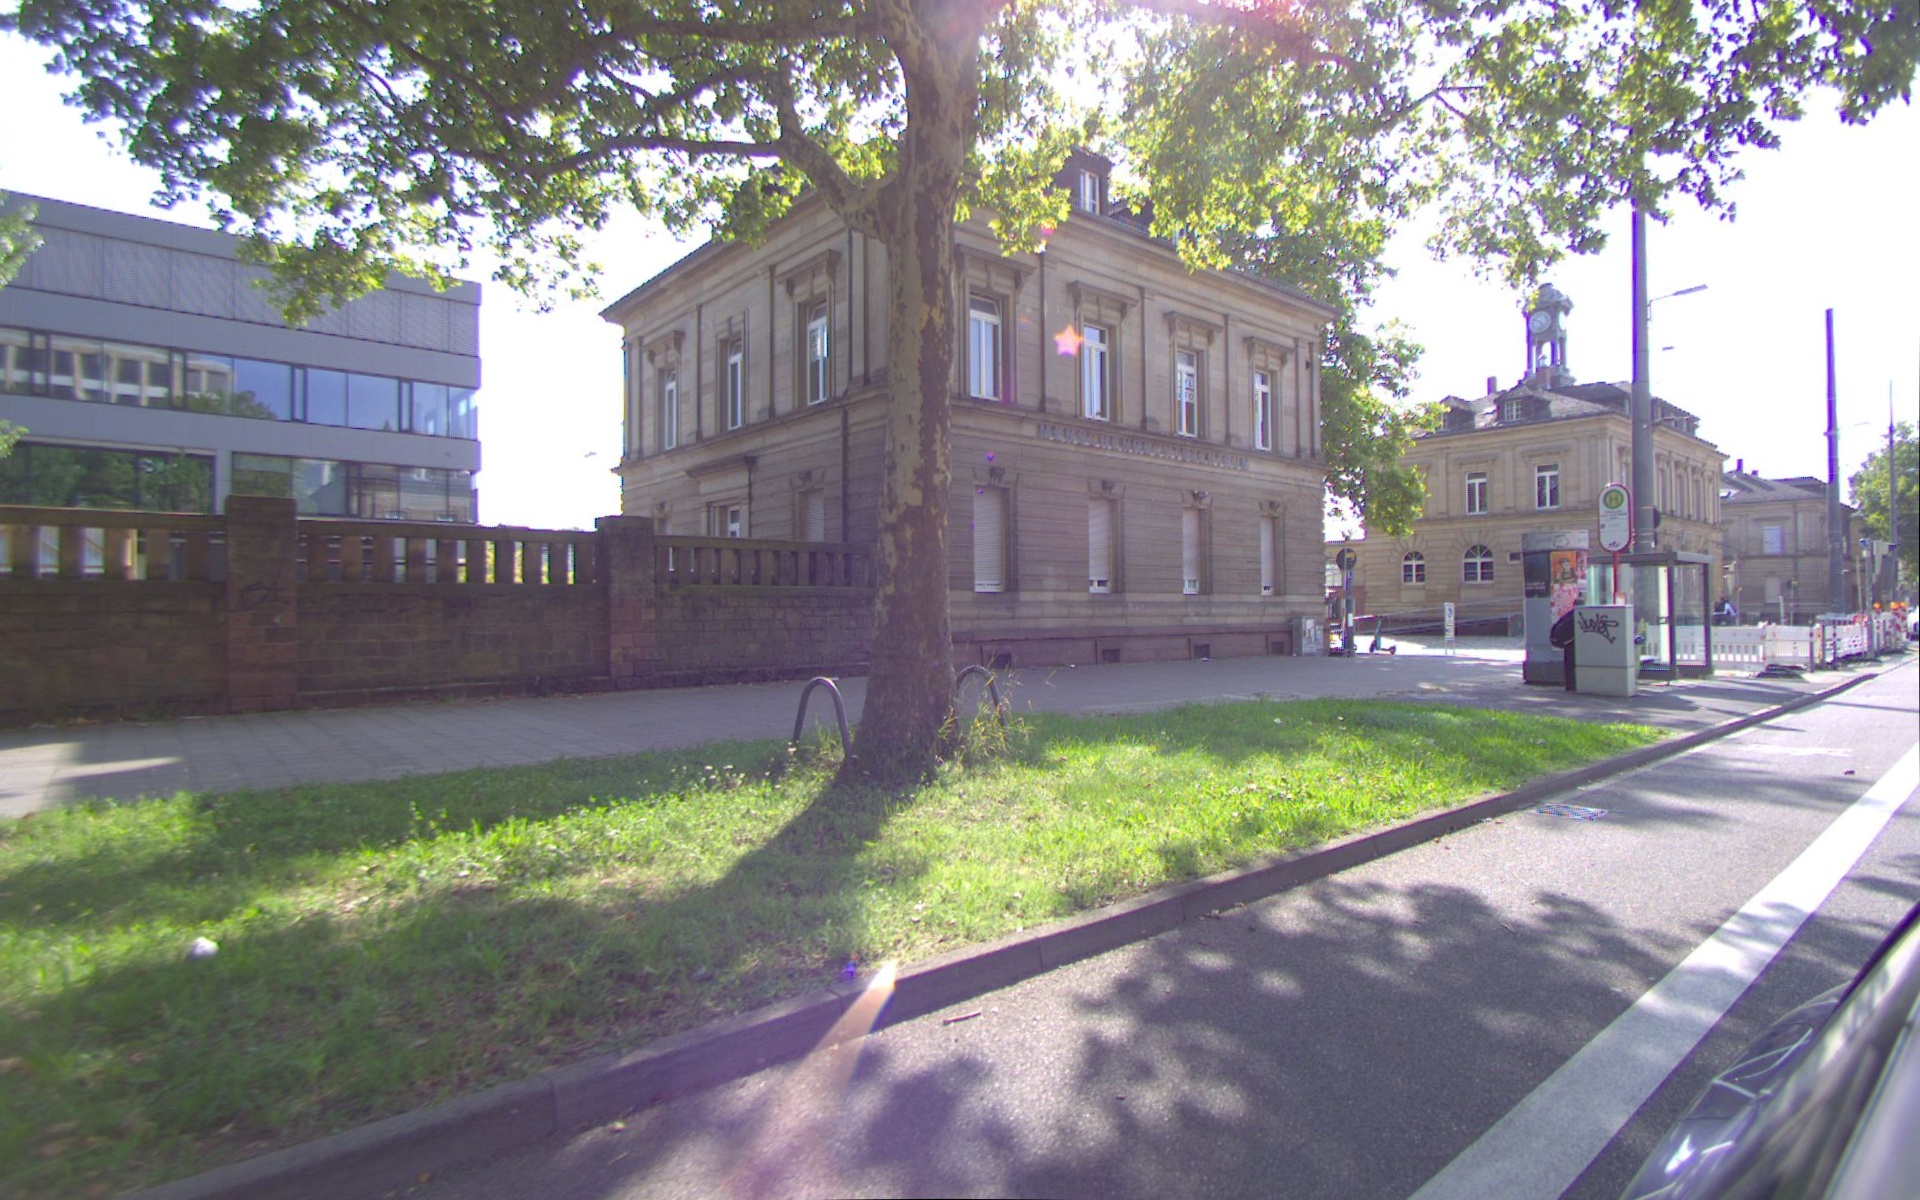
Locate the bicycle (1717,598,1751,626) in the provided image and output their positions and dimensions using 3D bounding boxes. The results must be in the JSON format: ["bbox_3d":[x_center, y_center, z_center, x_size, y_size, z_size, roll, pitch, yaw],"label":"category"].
[{"bbox_3d":[29.509,0.466,38.569,1.871,1.055,0.718,1,-1,-43],"label":"bicycle"}]

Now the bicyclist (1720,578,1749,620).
[{"bbox_3d":[29.513,-0.032,38.581,0.939,1.563,0.718,1,-2,-43],"label":"bicyclist"}]

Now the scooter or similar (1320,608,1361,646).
[{"bbox_3d":[12.646,0.897,33.669,1.242,1.225,0.419,1,-2,25],"label":"scooter or similar"}]

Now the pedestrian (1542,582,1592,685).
[{"bbox_3d":[10.354,0.557,17.293,0.683,1.718,0.642,0,-1,29],"label":"pedestrian"}]

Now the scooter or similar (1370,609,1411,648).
[{"bbox_3d":[13.964,0.931,32.830,1.228,1.225,0.423,2,-2,-18],"label":"scooter or similar"}]
